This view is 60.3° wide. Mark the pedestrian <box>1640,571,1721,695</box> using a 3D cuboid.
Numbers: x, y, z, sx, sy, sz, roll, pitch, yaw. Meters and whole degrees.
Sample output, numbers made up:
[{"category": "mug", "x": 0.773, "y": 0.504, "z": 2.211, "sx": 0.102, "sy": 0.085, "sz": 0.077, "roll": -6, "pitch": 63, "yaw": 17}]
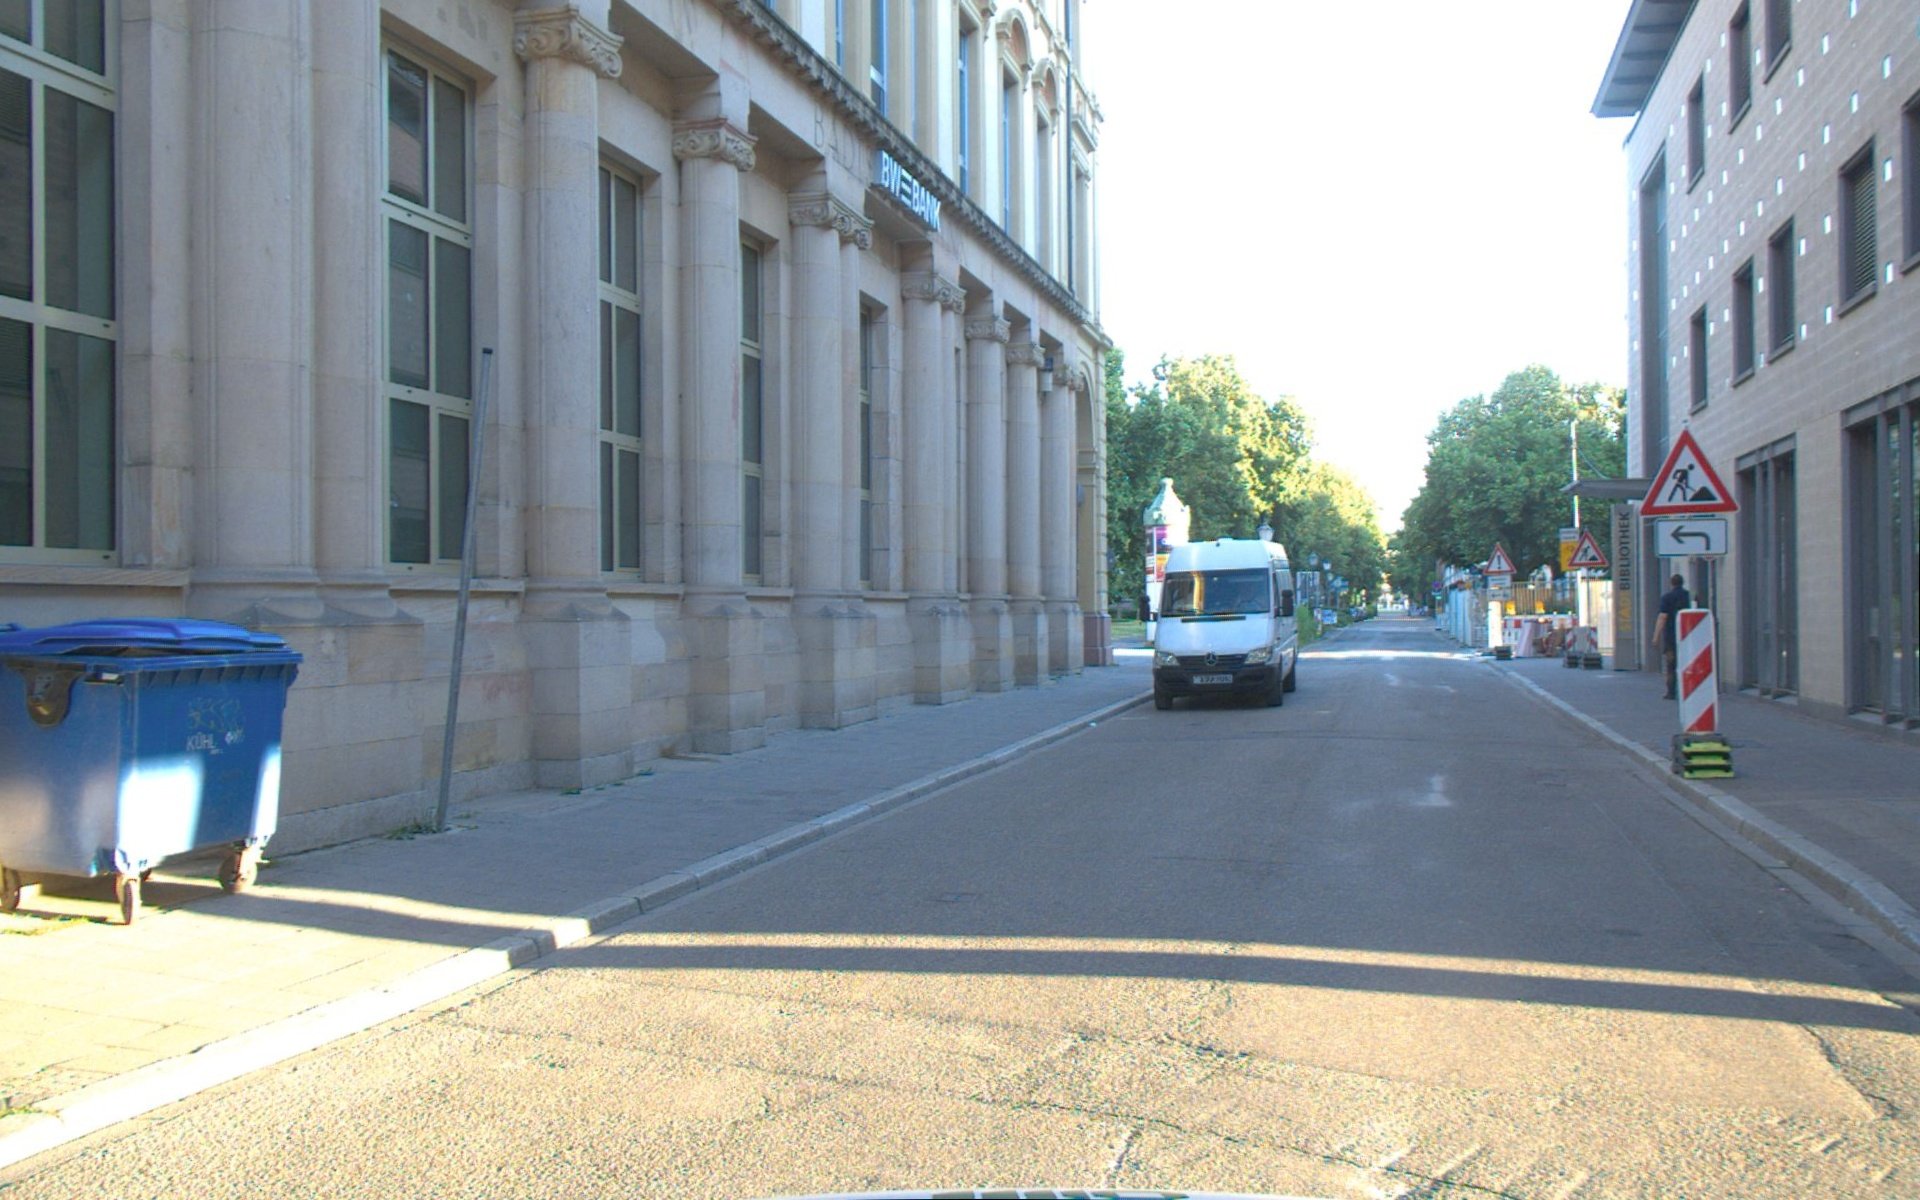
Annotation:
[{"category": "pedestrian", "x": 10.393, "y": 0.471, "z": 23.894, "sx": 0.903, "sy": 1.732, "sz": 0.869, "roll": -2, "pitch": -1, "yaw": 14}]

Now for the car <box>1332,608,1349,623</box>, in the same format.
[{"category": "car", "x": 35.953, "y": 1.433, "z": 156.219, "sx": 1.437, "sy": 1.429, "sz": 3.682, "roll": 0, "pitch": 0, "yaw": 14}]

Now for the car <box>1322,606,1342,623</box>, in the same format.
[{"category": "car", "x": 29.595, "y": 1.137, "z": 131.526, "sx": 1.437, "sy": 1.278, "sz": 3.682, "roll": 0, "pitch": 0, "yaw": 14}]

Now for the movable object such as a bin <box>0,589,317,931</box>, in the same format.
[{"category": "movable object such as a bin", "x": -3.981, "y": 0.709, "z": 8.056, "sx": 1.051, "sy": 1.500, "sz": 1.187, "roll": 1, "pitch": 0, "yaw": 18}]

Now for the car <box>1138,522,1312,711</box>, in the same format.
[{"category": "car", "x": 4.427, "y": 0.250, "z": 26.661, "sx": 1.953, "sy": 2.556, "sz": 6.474, "roll": -4, "pitch": -1, "yaw": 15}]
